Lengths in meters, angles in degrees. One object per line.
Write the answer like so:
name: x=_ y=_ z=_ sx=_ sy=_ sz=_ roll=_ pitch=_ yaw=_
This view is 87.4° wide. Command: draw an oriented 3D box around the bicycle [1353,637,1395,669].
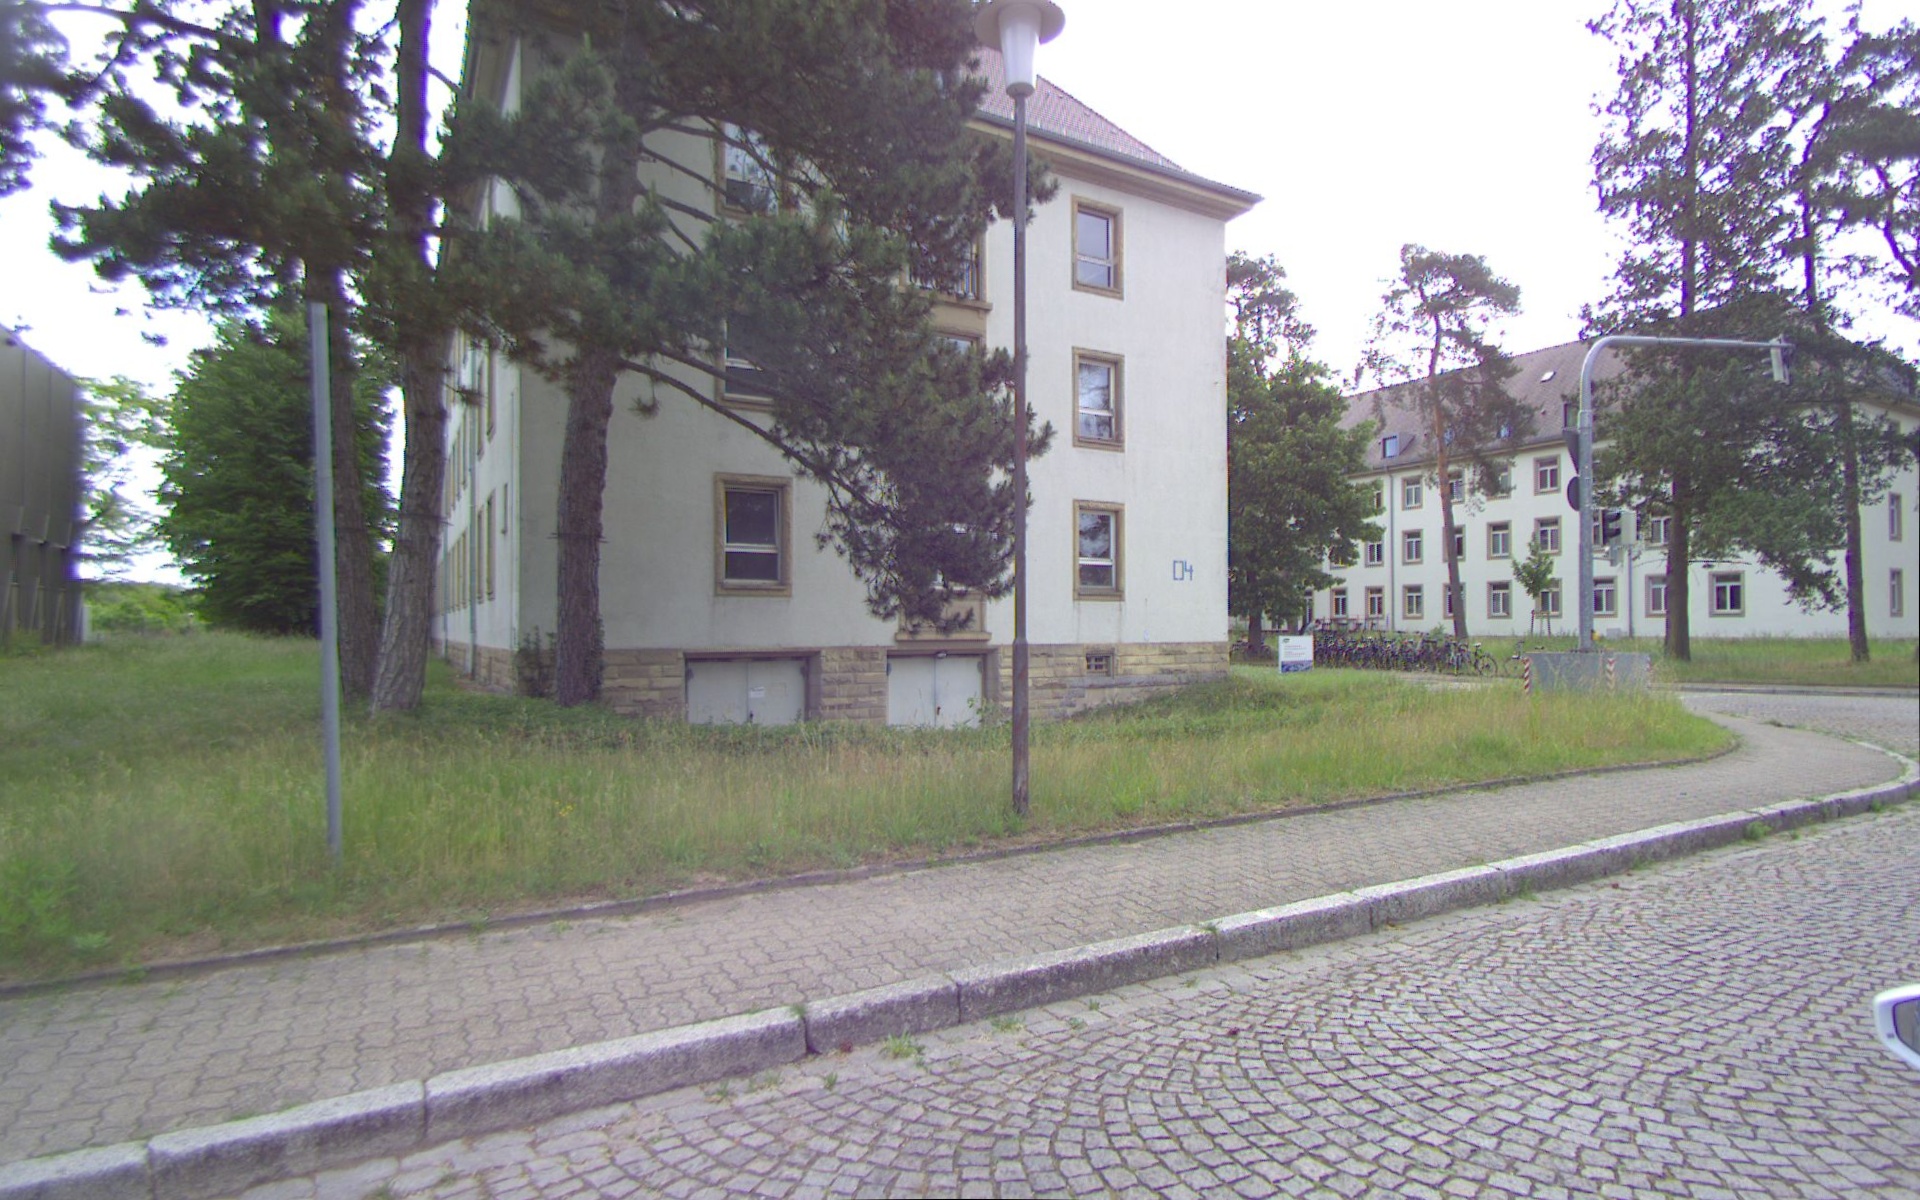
bicycle: x=14.500 y=1.831 z=35.140 sx=1.567 sy=1.093 sz=0.512 roll=1 pitch=-2 yaw=-30

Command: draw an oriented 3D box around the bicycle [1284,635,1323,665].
bicycle: x=12.958 y=1.883 z=37.895 sx=1.567 sy=1.093 sz=0.512 roll=1 pitch=-2 yaw=-30

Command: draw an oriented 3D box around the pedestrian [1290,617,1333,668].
pedestrian: x=12.833 y=1.528 z=36.744 sx=1.135 sy=1.812 sz=1.064 roll=-2 pitch=-1 yaw=-2

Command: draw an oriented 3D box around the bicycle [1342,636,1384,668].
bicycle: x=14.272 y=1.833 z=35.529 sx=1.567 sy=1.093 sz=0.512 roll=1 pitch=-2 yaw=-30

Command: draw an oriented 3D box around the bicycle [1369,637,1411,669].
bicycle: x=14.825 y=1.810 z=34.610 sx=1.567 sy=1.093 sz=0.512 roll=1 pitch=-2 yaw=-30

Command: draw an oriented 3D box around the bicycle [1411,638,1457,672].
bicycle: x=15.618 y=1.801 z=33.112 sx=1.565 sy=1.093 sz=0.512 roll=1 pitch=-2 yaw=-28

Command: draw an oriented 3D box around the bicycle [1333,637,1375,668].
bicycle: x=14.076 y=1.863 z=35.859 sx=1.567 sy=1.093 sz=0.512 roll=1 pitch=-2 yaw=-30

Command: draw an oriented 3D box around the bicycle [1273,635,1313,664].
bicycle: x=12.703 y=1.882 z=38.325 sx=1.567 sy=1.093 sz=0.512 roll=1 pitch=-2 yaw=-30

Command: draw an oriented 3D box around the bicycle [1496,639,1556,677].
bicycle: x=16.500 y=1.683 z=29.299 sx=0.510 sy=1.079 sz=1.457 roll=1 pitch=-2 yaw=-31

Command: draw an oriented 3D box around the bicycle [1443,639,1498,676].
bicycle: x=15.552 y=1.753 z=30.634 sx=0.510 sy=1.093 sz=1.457 roll=1 pitch=-2 yaw=-31

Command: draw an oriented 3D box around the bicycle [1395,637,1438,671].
bicycle: x=15.349 y=1.802 z=33.771 sx=1.567 sy=1.093 sz=0.512 roll=1 pitch=-2 yaw=-30

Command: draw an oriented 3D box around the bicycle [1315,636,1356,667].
bicycle: x=13.683 y=1.878 z=36.550 sx=1.567 sy=1.093 sz=0.512 roll=1 pitch=-2 yaw=-30

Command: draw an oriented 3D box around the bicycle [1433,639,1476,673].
bicycle: x=16.026 y=1.804 z=32.569 sx=1.568 sy=1.093 sz=0.511 roll=1 pitch=-2 yaw=-33

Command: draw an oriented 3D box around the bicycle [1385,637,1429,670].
bicycle: x=15.175 y=1.801 z=34.087 sx=1.567 sy=1.093 sz=0.512 roll=1 pitch=-2 yaw=-30
